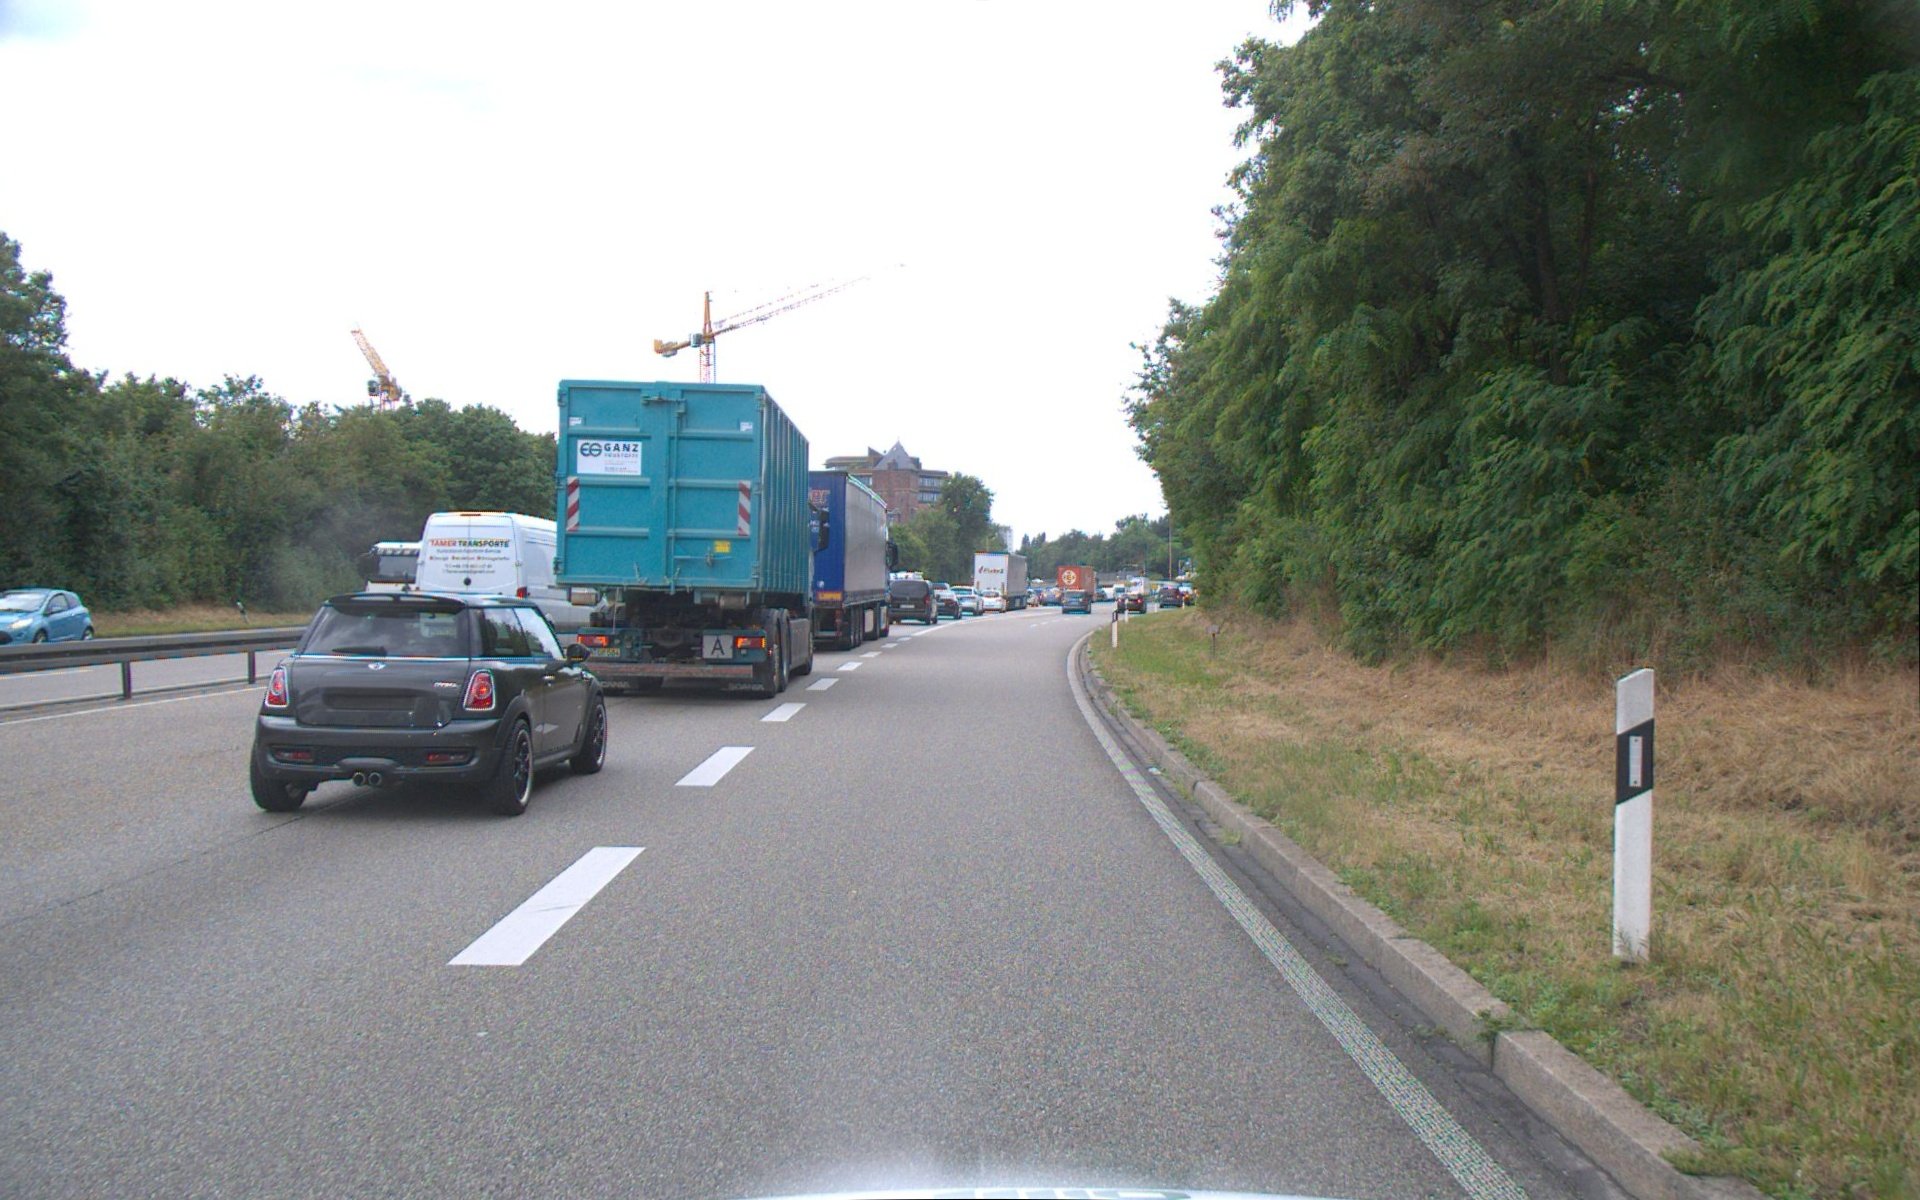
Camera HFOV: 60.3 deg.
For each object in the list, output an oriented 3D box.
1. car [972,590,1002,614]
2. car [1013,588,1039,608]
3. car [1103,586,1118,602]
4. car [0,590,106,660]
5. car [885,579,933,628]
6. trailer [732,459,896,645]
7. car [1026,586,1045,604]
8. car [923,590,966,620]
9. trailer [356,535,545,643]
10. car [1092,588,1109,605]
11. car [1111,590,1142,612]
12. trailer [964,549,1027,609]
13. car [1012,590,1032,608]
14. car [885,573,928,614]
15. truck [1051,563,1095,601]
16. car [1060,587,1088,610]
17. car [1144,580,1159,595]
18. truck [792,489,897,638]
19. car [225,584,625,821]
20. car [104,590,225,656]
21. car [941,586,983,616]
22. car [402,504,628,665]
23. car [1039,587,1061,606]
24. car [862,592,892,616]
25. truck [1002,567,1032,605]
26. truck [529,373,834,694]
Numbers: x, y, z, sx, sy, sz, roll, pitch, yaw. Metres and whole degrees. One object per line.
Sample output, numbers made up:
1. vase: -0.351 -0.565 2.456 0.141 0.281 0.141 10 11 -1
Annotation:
1. car: 1.800 0.119 108.865 1.727 1.504 4.091 -1 0 5
2. car: 5.790 -0.150 145.064 1.761 1.632 4.261 1 0 9
3. car: 19.877 -0.754 218.149 1.580 2.049 4.004 0 0 12
4. car: -21.638 0.549 38.554 1.559 1.528 3.704 0 0 0
5. car: -2.211 0.137 71.772 1.948 1.931 4.983 -3 0 -2
6. trailer: -3.516 -1.050 43.618 2.572 4.093 13.467 1 0 2
7. car: 8.462 -0.560 186.193 1.779 2.049 4.003 0 0 8
8. car: -0.770 0.229 85.216 1.808 1.485 4.834 0 0 5
9. trailer: -17.923 -0.397 59.326 2.419 3.455 12.467 0 0 2
10. car: 17.587 -0.428 206.755 1.580 1.982 3.708 1 0 12
11. car: 11.778 0.047 116.787 1.786 1.508 4.004 0 0 11
12. trailer: 2.763 -1.427 121.991 3.228 4.107 13.107 1 0 7
13. car: 5.444 -0.109 145.151 1.498 1.579 3.421 0 0 6
14. car: -3.526 -0.428 109.160 1.951 2.598 5.366 0 0 8
15. truck: 12.721 -1.991 184.566 3.415 4.144 13.604 0 0 10
16. car: 7.700 -0.109 112.189 1.787 1.508 4.001 0 0 2
17. car: 25.998 -1.652 224.561 1.909 2.049 4.003 0 0 8
18. truck: -3.362 -1.012 49.542 2.508 4.113 6.590 1 0 1
19. car: -3.663 0.620 12.006 1.712 1.446 3.664 0 0 0
20. car: -22.114 0.606 46.125 1.643 1.747 3.775 0 0 -2
21. car: 0.153 0.052 97.413 1.915 1.724 4.869 0 0 6
22. car: -8.079 -0.251 30.894 2.176 2.623 6.799 1 0 1
23. car: 8.523 -0.290 156.187 1.680 1.713 4.003 1 0 9
24. car: -4.841 0.226 96.737 1.410 1.411 3.049 0 0 4
25. truck: 6.645 -1.602 191.597 2.680 4.211 10.704 1 0 6
26. truck: -3.795 -0.842 25.637 2.869 3.863 11.329 0 0 0
